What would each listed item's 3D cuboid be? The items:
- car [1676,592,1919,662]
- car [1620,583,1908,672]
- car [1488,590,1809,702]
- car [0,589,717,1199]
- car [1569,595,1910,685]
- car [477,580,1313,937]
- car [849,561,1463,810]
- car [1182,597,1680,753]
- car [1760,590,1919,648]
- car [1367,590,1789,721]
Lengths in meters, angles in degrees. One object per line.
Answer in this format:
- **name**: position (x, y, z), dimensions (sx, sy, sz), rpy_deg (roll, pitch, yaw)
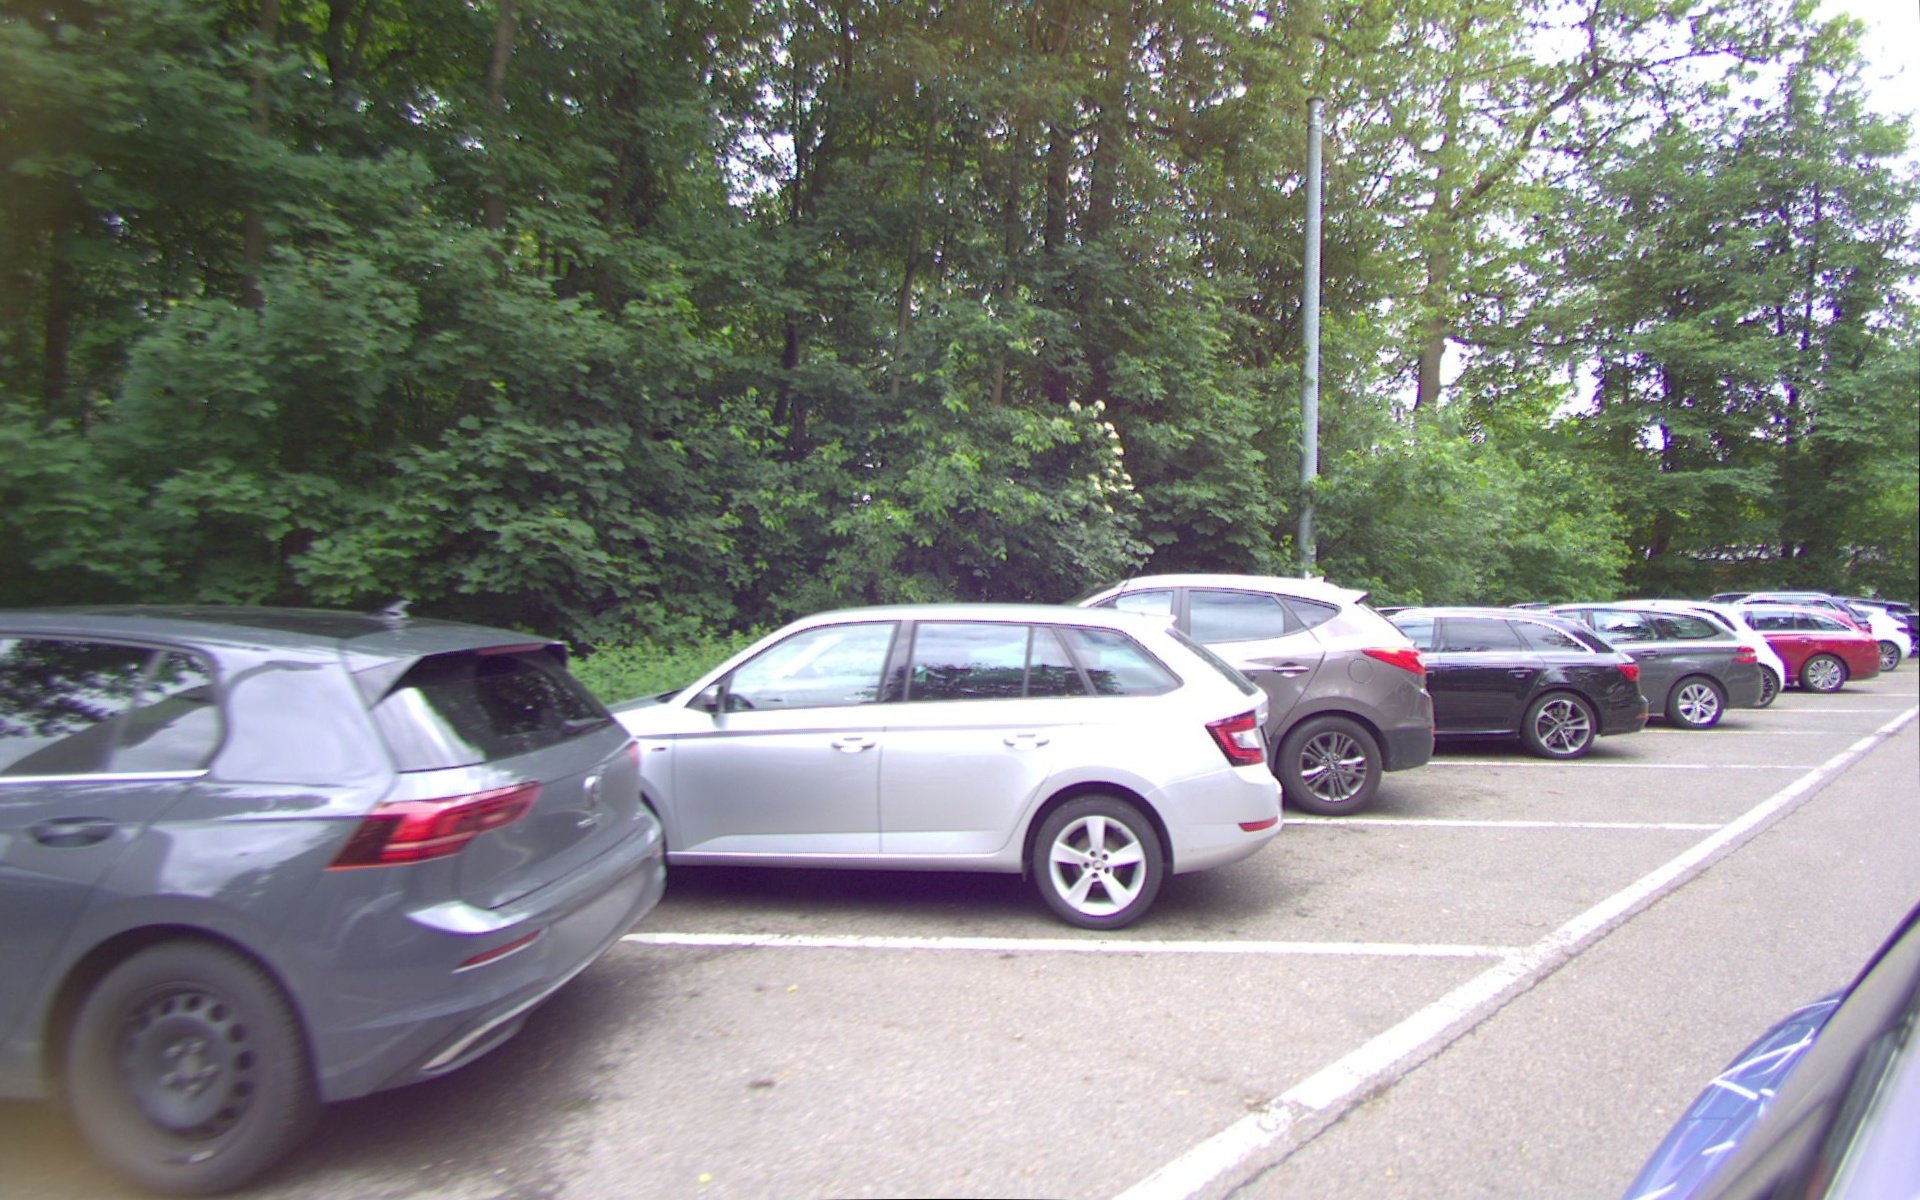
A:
- **car**: position (18.532, 0.557, 22.313), dimensions (4.050, 1.457, 1.866), rpy_deg (0, 0, 8)
- **car**: position (15.725, 0.495, 20.003), dimensions (4.050, 1.638, 1.838), rpy_deg (0, 0, 8)
- **car**: position (10.120, 0.625, 15.127), dimensions (3.521, 1.524, 1.732), rpy_deg (1, 0, 7)
- **car**: position (-3.044, 0.688, 3.464), dimensions (3.928, 1.440, 1.908), rpy_deg (0, 0, 4)
- **car**: position (13.254, 0.632, 17.488), dimensions (4.225, 1.431, 1.923), rpy_deg (0, 0, 9)
- **car**: position (-0.299, 0.670, 5.578), dimensions (3.934, 1.485, 1.830), rpy_deg (1, 0, 9)
- **car**: position (1.371, 0.560, 7.980), dimensions (4.187, 1.657, 1.963), rpy_deg (0, 0, 5)
- **car**: position (4.586, 0.685, 10.429), dimensions (4.184, 1.395, 1.964), rpy_deg (0, 0, 3)
- **car**: position (24.130, 0.484, 27.268), dimensions (3.723, 1.511, 1.698), rpy_deg (0, 0, 4)
- **car**: position (7.525, 0.626, 12.696), dimensions (4.112, 1.476, 1.802), rpy_deg (1, 0, 5)
